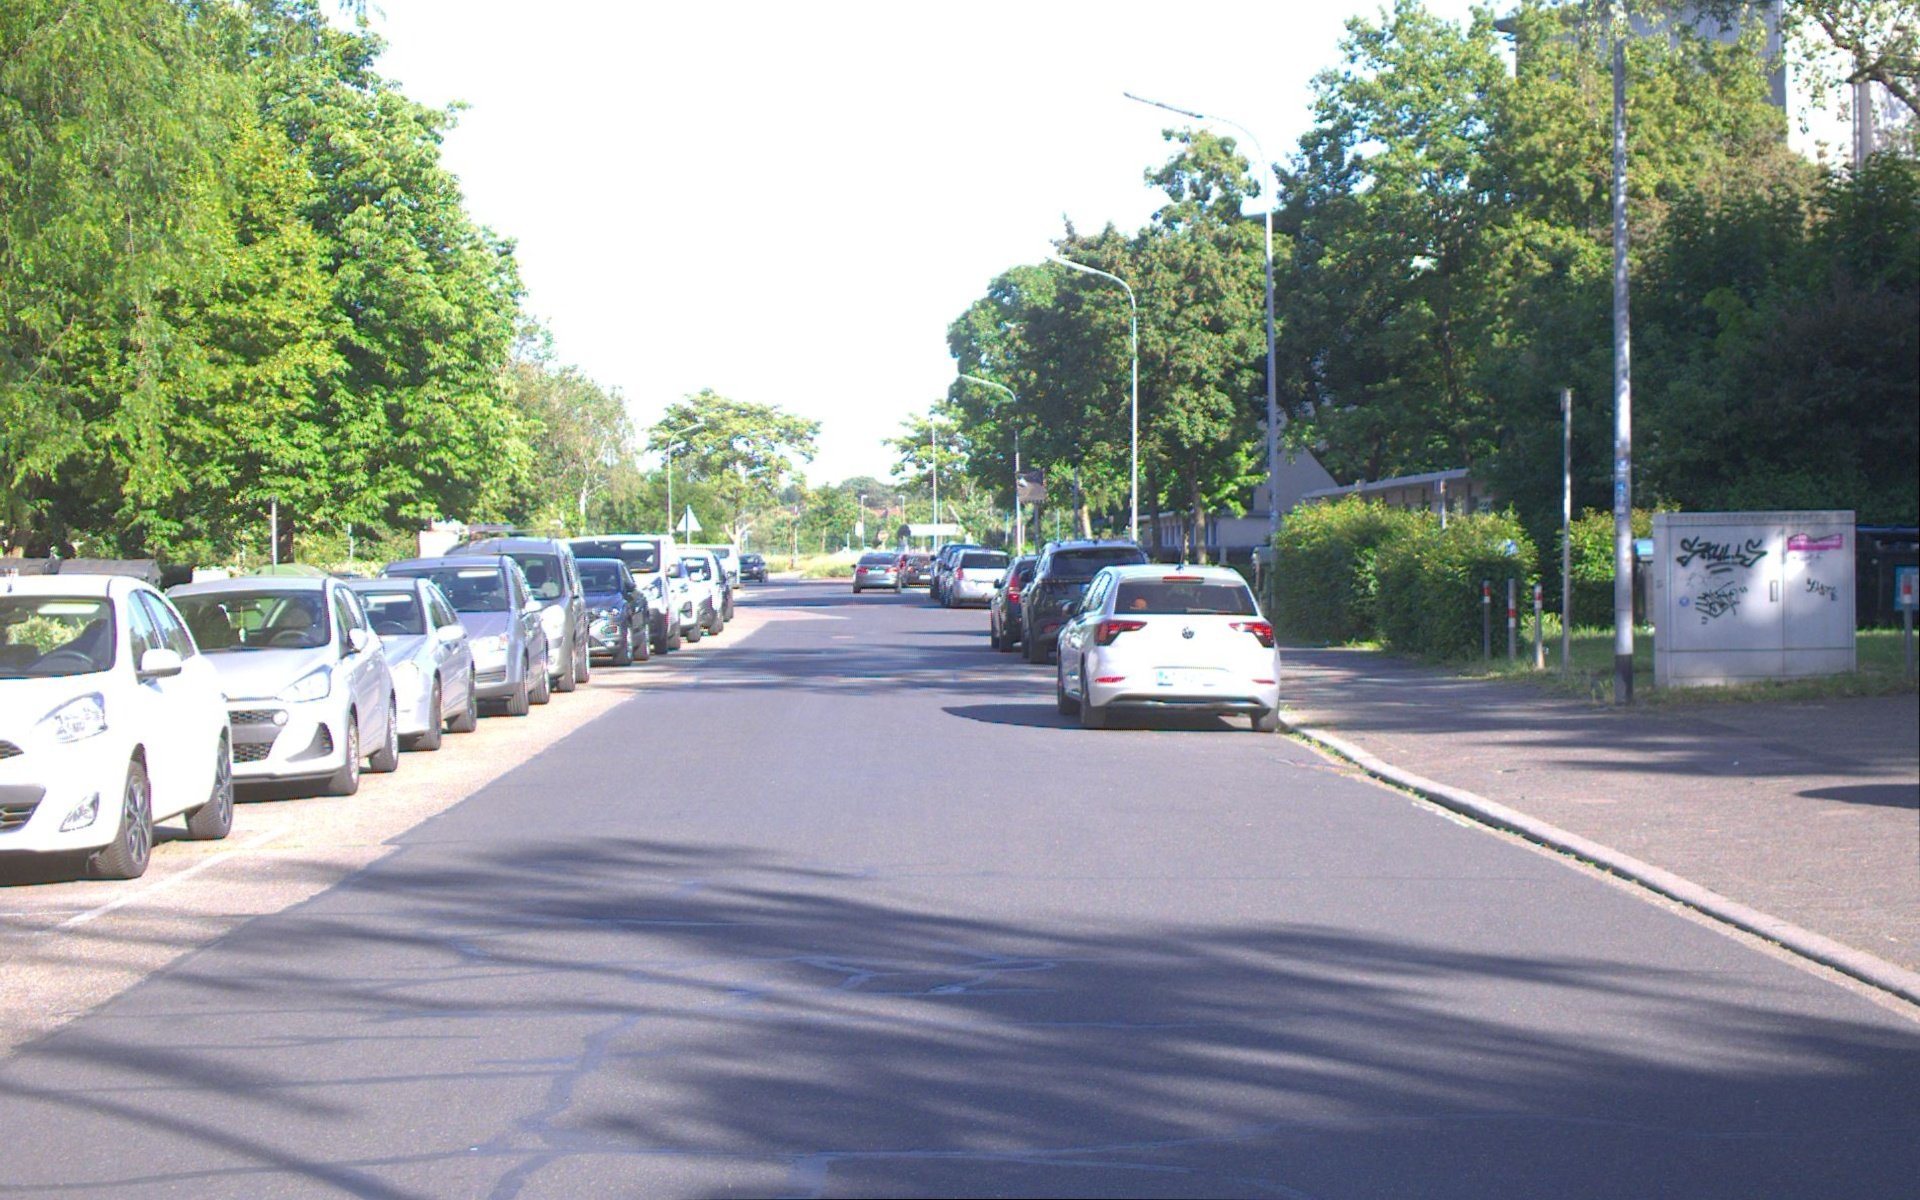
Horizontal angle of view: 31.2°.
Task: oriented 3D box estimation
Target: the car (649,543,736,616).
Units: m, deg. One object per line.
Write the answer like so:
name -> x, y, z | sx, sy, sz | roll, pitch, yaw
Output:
car -> -6.170, -0.495, 79.731 | 1.746, 1.607, 4.308 | -2, 1, -1

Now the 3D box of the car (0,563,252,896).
car -> -4.925, 0.605, 18.084 | 1.686, 1.529, 3.891 | -2, 1, -2

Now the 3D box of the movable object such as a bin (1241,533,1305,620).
movable object such as a bin -> 5.320, -0.399, 58.488 | 0.917, 1.449, 1.233 | -1, 1, -1

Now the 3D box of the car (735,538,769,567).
car -> -11.241, -2.576, 185.571 | 1.795, 1.556, 3.952 | 0, 1, -4

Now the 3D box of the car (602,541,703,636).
car -> -5.728, -0.242, 64.416 | 1.746, 1.664, 4.379 | -2, 1, -4

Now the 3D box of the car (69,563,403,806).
car -> -4.971, 0.522, 24.044 | 1.686, 1.500, 3.818 | -1, 1, -3

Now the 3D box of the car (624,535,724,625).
car -> -5.803, -0.432, 70.019 | 1.746, 1.726, 4.006 | -2, 1, -1

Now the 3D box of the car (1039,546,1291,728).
car -> 1.792, 0.287, 31.234 | 1.753, 1.508, 4.105 | 1, 1, -4

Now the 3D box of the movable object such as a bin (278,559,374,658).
movable object such as a bin -> -9.053, 0.109, 49.134 | 1.101, 1.352, 1.361 | 2, 1, -1

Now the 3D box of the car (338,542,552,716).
car -> -5.194, 0.247, 35.072 | 1.709, 1.595, 3.986 | -3, 1, -3

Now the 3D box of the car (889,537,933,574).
car -> -2.236, -2.037, 156.046 | 1.795, 1.638, 3.952 | 0, 1, -4

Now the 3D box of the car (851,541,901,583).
car -> -3.155, -1.420, 128.229 | 1.679, 1.508, 4.105 | 1, 1, -4

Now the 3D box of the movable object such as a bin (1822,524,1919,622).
movable object such as a bin -> 12.954, -0.390, 48.223 | 1.254, 1.348, 1.279 | 0, 1, -10

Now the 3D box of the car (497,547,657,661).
car -> -5.510, 0.029, 49.916 | 1.746, 1.528, 4.139 | -2, 1, 1

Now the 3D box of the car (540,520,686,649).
car -> -5.615, -0.285, 56.136 | 1.915, 1.956, 5.088 | -2, 1, -1

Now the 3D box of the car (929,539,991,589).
car -> -0.007, -1.197, 113.803 | 1.795, 1.638, 3.952 | 0, 1, -4

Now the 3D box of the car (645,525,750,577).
car -> -10.350, -1.932, 135.325 | 4.053, 1.985, 1.802 | 0, 1, -6

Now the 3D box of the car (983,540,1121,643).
car -> 1.377, -0.155, 53.089 | 1.908, 1.525, 4.328 | 0, 1, -1

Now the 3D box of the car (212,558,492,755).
car -> -5.141, 0.423, 29.593 | 1.686, 1.460, 4.526 | -3, 1, -2

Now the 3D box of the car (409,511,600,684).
car -> -5.350, -0.063, 40.833 | 1.854, 1.886, 4.419 | -2, 1, -3

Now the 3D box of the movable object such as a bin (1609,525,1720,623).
movable object such as a bin -> 9.856, -0.373, 48.125 | 1.254, 1.348, 1.279 | 0, 1, -2

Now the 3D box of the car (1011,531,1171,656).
car -> 1.741, -0.122, 47.244 | 1.908, 1.634, 4.629 | 0, 1, -1

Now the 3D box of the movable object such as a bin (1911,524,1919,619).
movable object such as a bin -> 14.369, -0.401, 48.773 | 1.254, 1.348, 1.279 | 0, 1, -12

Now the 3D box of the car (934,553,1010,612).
car -> 0.308, -0.497, 93.237 | 1.795, 1.556, 3.952 | 0, 1, -4

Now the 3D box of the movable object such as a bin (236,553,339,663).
movable object such as a bin -> -9.042, 0.096, 46.301 | 1.101, 1.416, 1.361 | 2, 1, -1

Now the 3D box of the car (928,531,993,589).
car -> -0.003, -1.281, 109.200 | 1.795, 1.780, 3.952 | 0, 1, -4

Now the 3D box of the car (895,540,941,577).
car -> -1.829, -1.807, 148.627 | 1.795, 1.543, 3.952 | 0, 1, -4
